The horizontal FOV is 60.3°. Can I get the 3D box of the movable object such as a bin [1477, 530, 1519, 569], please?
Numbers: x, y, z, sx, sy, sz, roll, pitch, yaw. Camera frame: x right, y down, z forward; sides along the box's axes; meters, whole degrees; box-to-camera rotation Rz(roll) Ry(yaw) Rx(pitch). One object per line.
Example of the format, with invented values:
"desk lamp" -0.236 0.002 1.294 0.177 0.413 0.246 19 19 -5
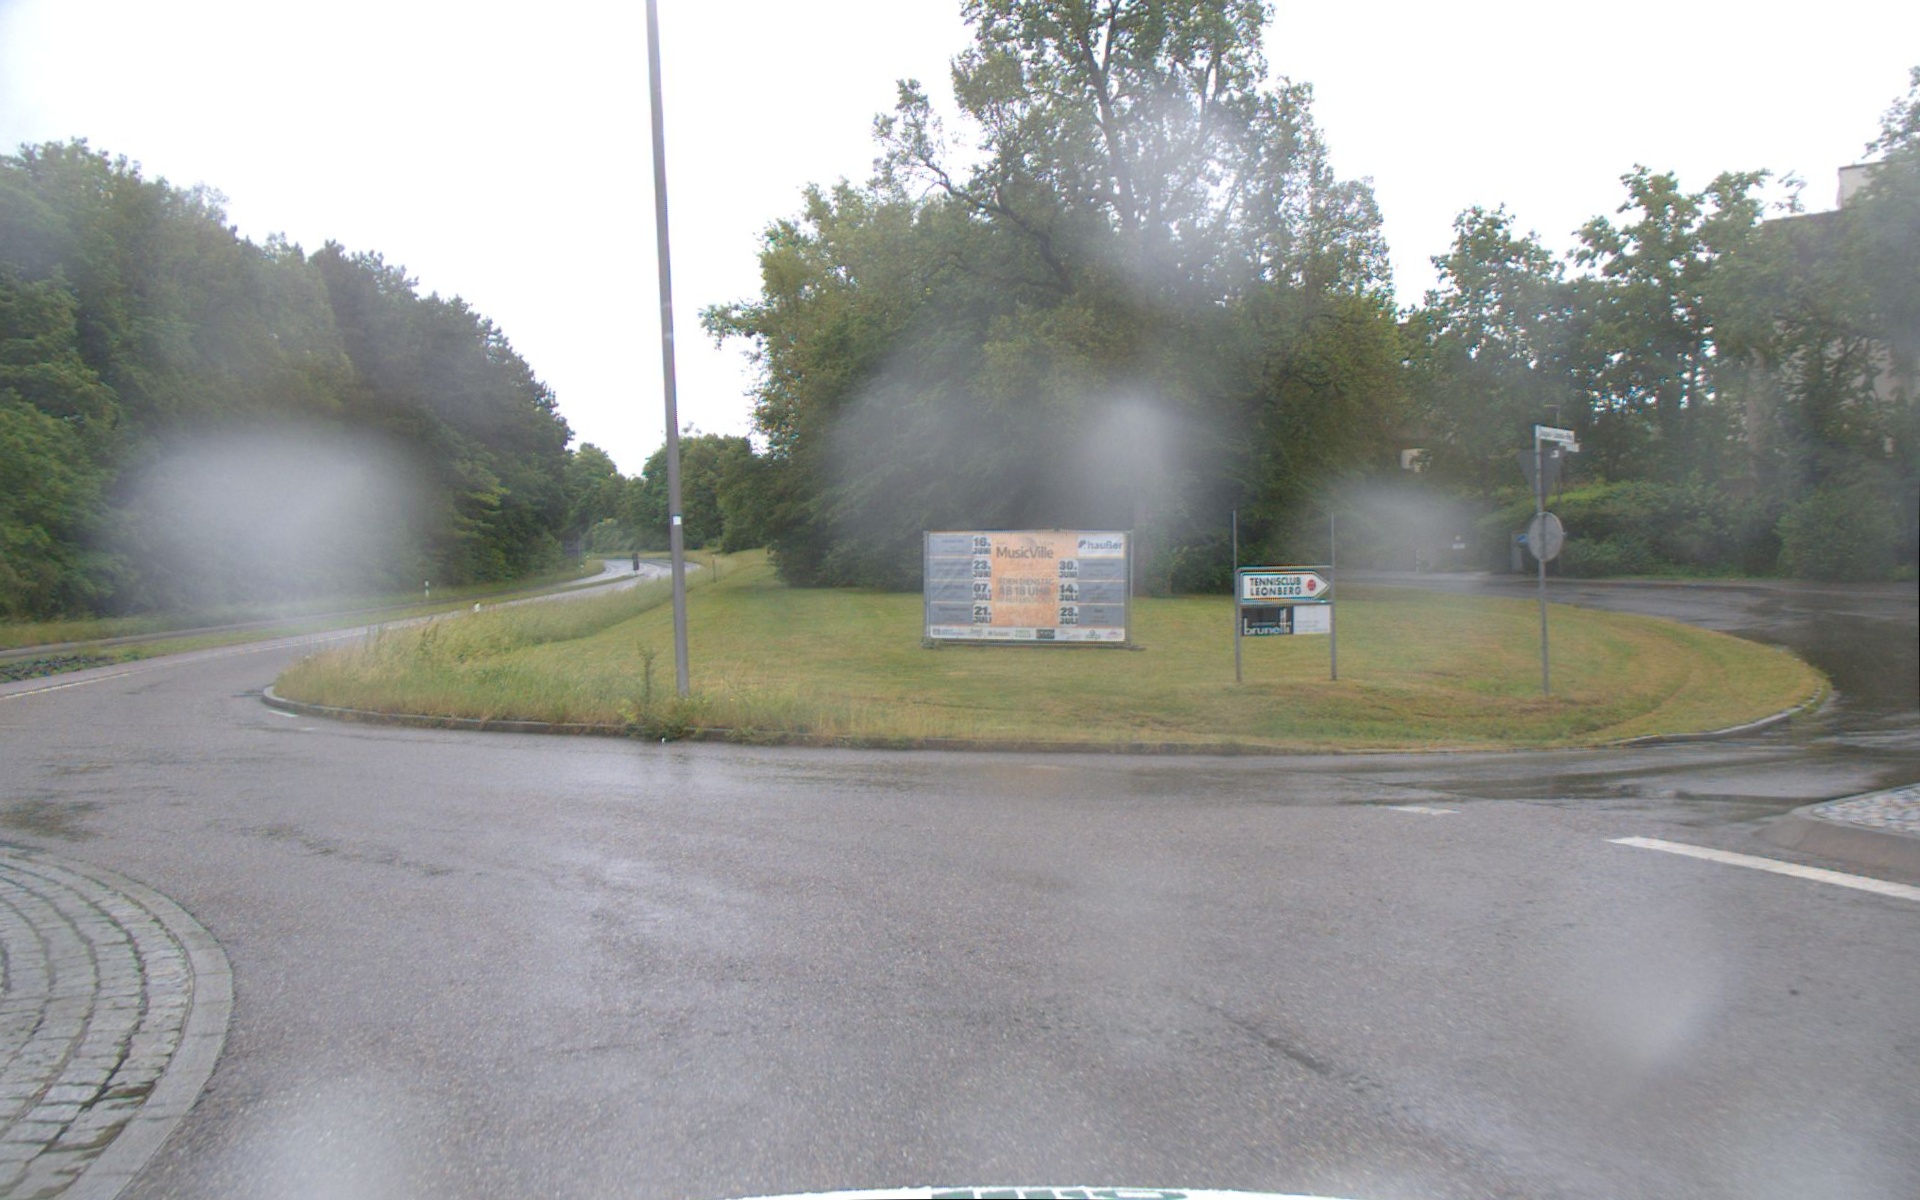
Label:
"movable object such as a bin" 20.981 -1.967 64.484 1.169 1.462 1.429 -2 1 1
